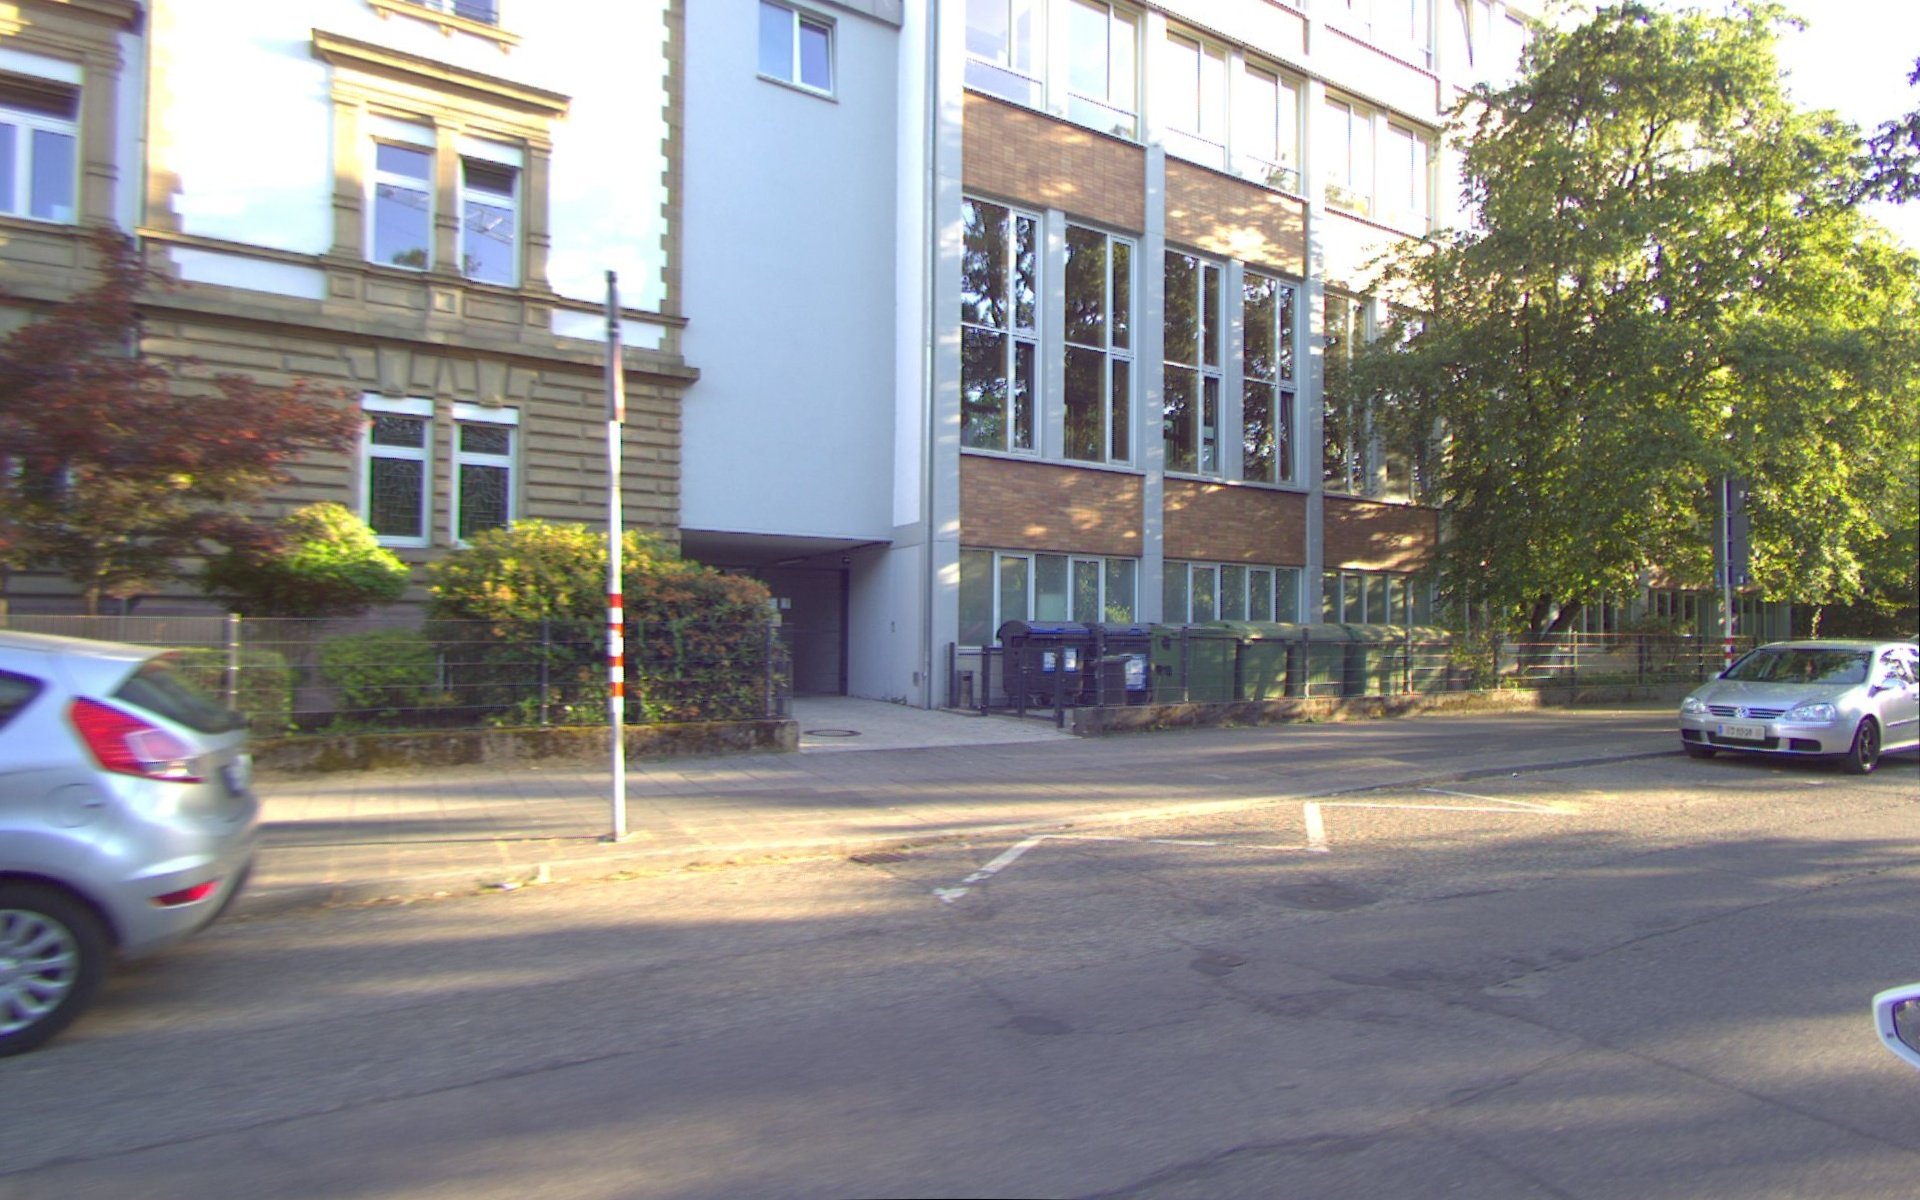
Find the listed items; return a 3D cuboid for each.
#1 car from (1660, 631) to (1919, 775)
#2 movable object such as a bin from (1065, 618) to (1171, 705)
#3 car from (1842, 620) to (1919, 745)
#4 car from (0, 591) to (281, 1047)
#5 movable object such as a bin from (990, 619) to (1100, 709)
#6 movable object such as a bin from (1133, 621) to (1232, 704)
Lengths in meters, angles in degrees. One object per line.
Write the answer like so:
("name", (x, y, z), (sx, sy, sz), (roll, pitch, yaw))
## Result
("car", (10.542, 1.163, 12.288), (4.012, 1.513, 1.664), (1, -3, -30))
("movable object such as a bin", (2.749, 1.058, 17.555), (1.466, 1.449, 1.095), (2, -1, -27))
("car", (15.192, 1.197, 15.022), (4.288, 1.730, 1.672), (1, -3, -30))
("car", (-4.648, 0.734, 3.418), (3.728, 1.513, 1.593), (1, -3, -31))
("movable object such as a bin", (1.418, 1.050, 16.857), (1.499, 1.449, 1.095), (2, -1, -27))
("movable object such as a bin", (4.027, 1.110, 18.212), (1.354, 1.449, 1.095), (2, -1, -27))
